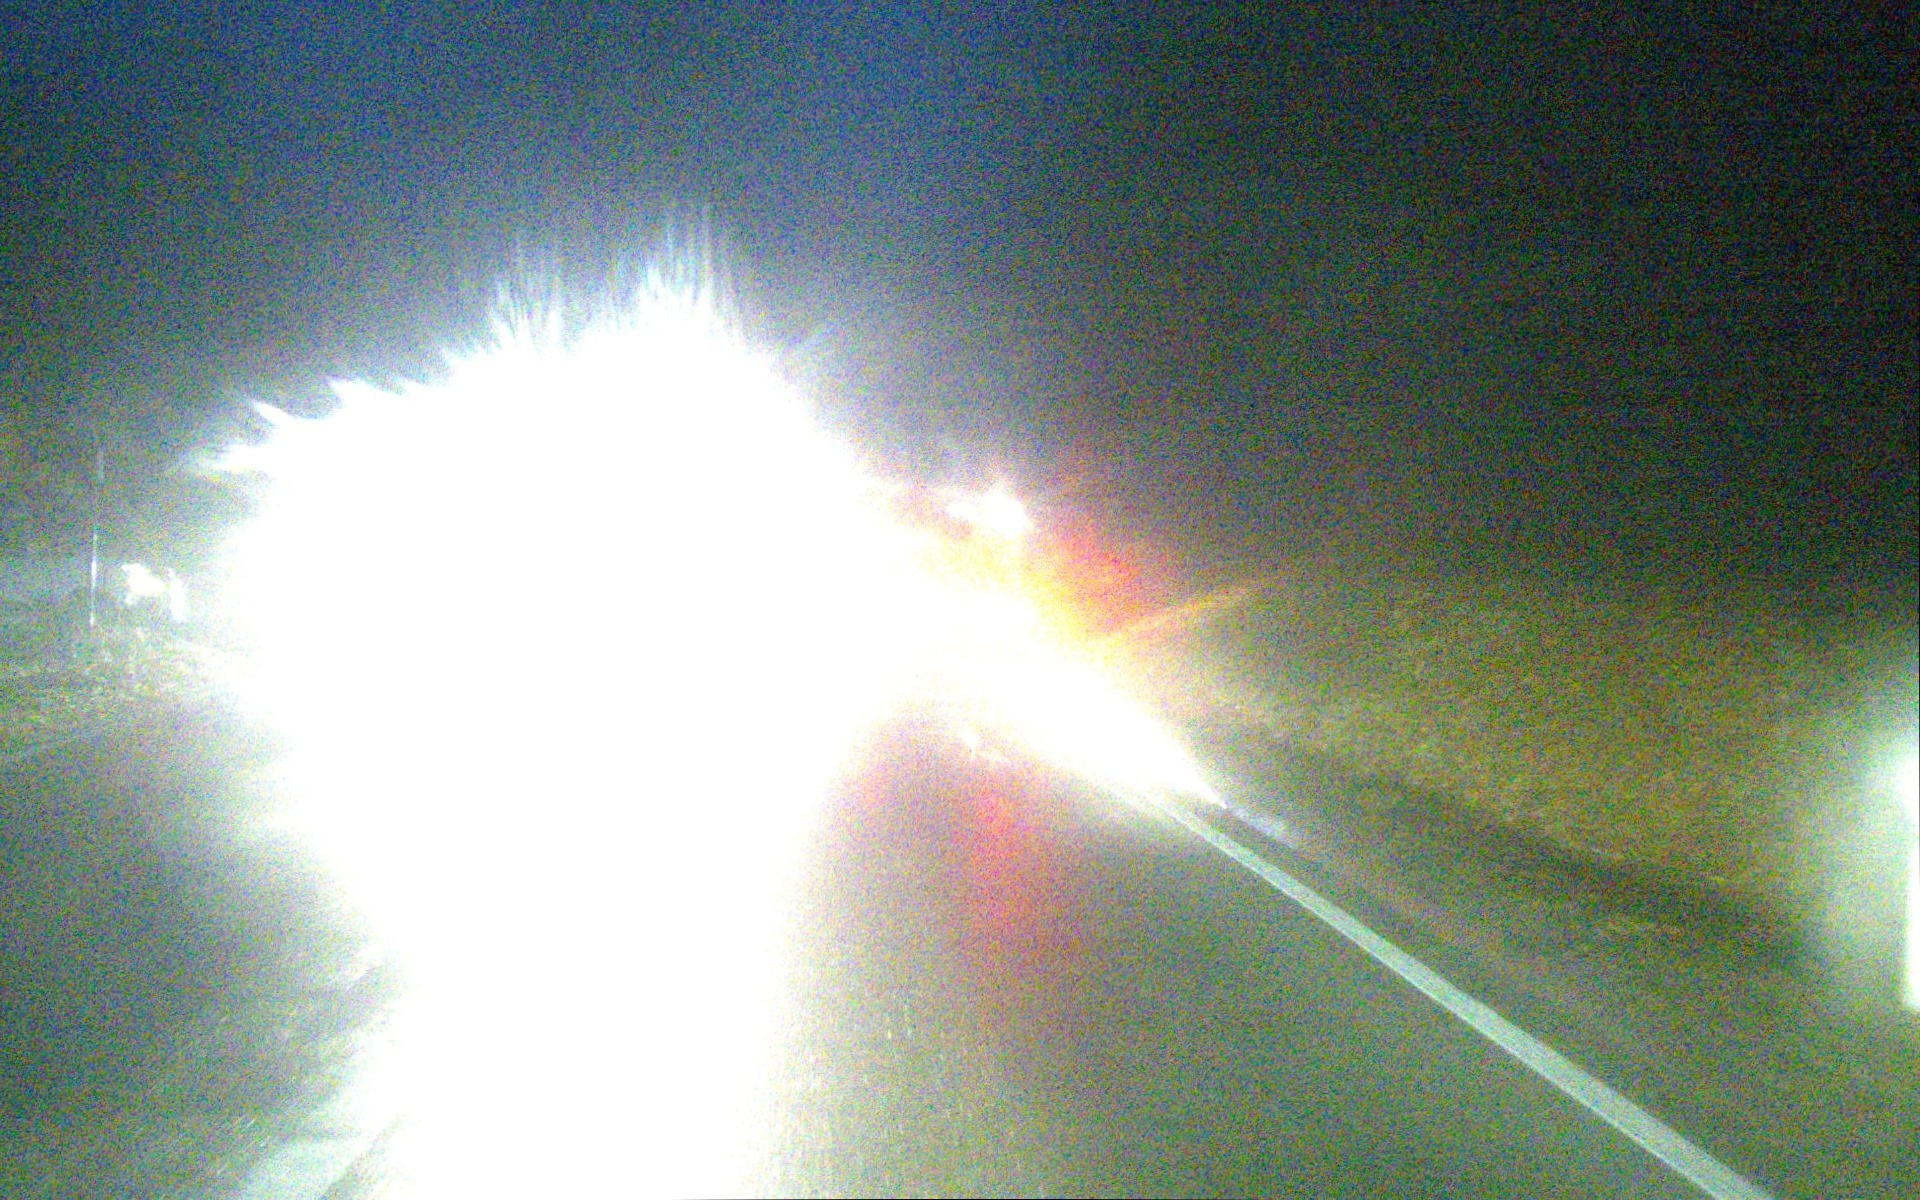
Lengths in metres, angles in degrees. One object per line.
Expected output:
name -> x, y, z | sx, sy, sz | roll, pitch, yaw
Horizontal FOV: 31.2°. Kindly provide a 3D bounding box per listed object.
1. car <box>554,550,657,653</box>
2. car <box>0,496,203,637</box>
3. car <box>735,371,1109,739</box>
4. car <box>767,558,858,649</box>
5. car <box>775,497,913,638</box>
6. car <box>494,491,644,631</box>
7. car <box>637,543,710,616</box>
car -> -7.522, 0.027, 73.222 | 1.993, 2.060, 4.001 | 3, 0, -5
car -> -12.185, -0.431, 43.399 | 4.911, 1.729, 2.000 | 0, 1, -5
car -> -0.411, -0.370, 26.272 | 2.538, 2.489, 5.715 | 0, 1, -3
car -> -3.008, 0.101, 70.661 | 1.740, 1.708, 3.700 | 3, -2, -1
car -> -1.878, -0.473, 54.558 | 1.993, 2.007, 4.000 | 3, -2, -3
car -> -5.232, -0.561, 46.356 | 1.753, 1.728, 4.001 | 3, 2, -4
car -> -7.909, -0.569, 94.970 | 1.891, 1.904, 3.796 | 3, 0, -4
